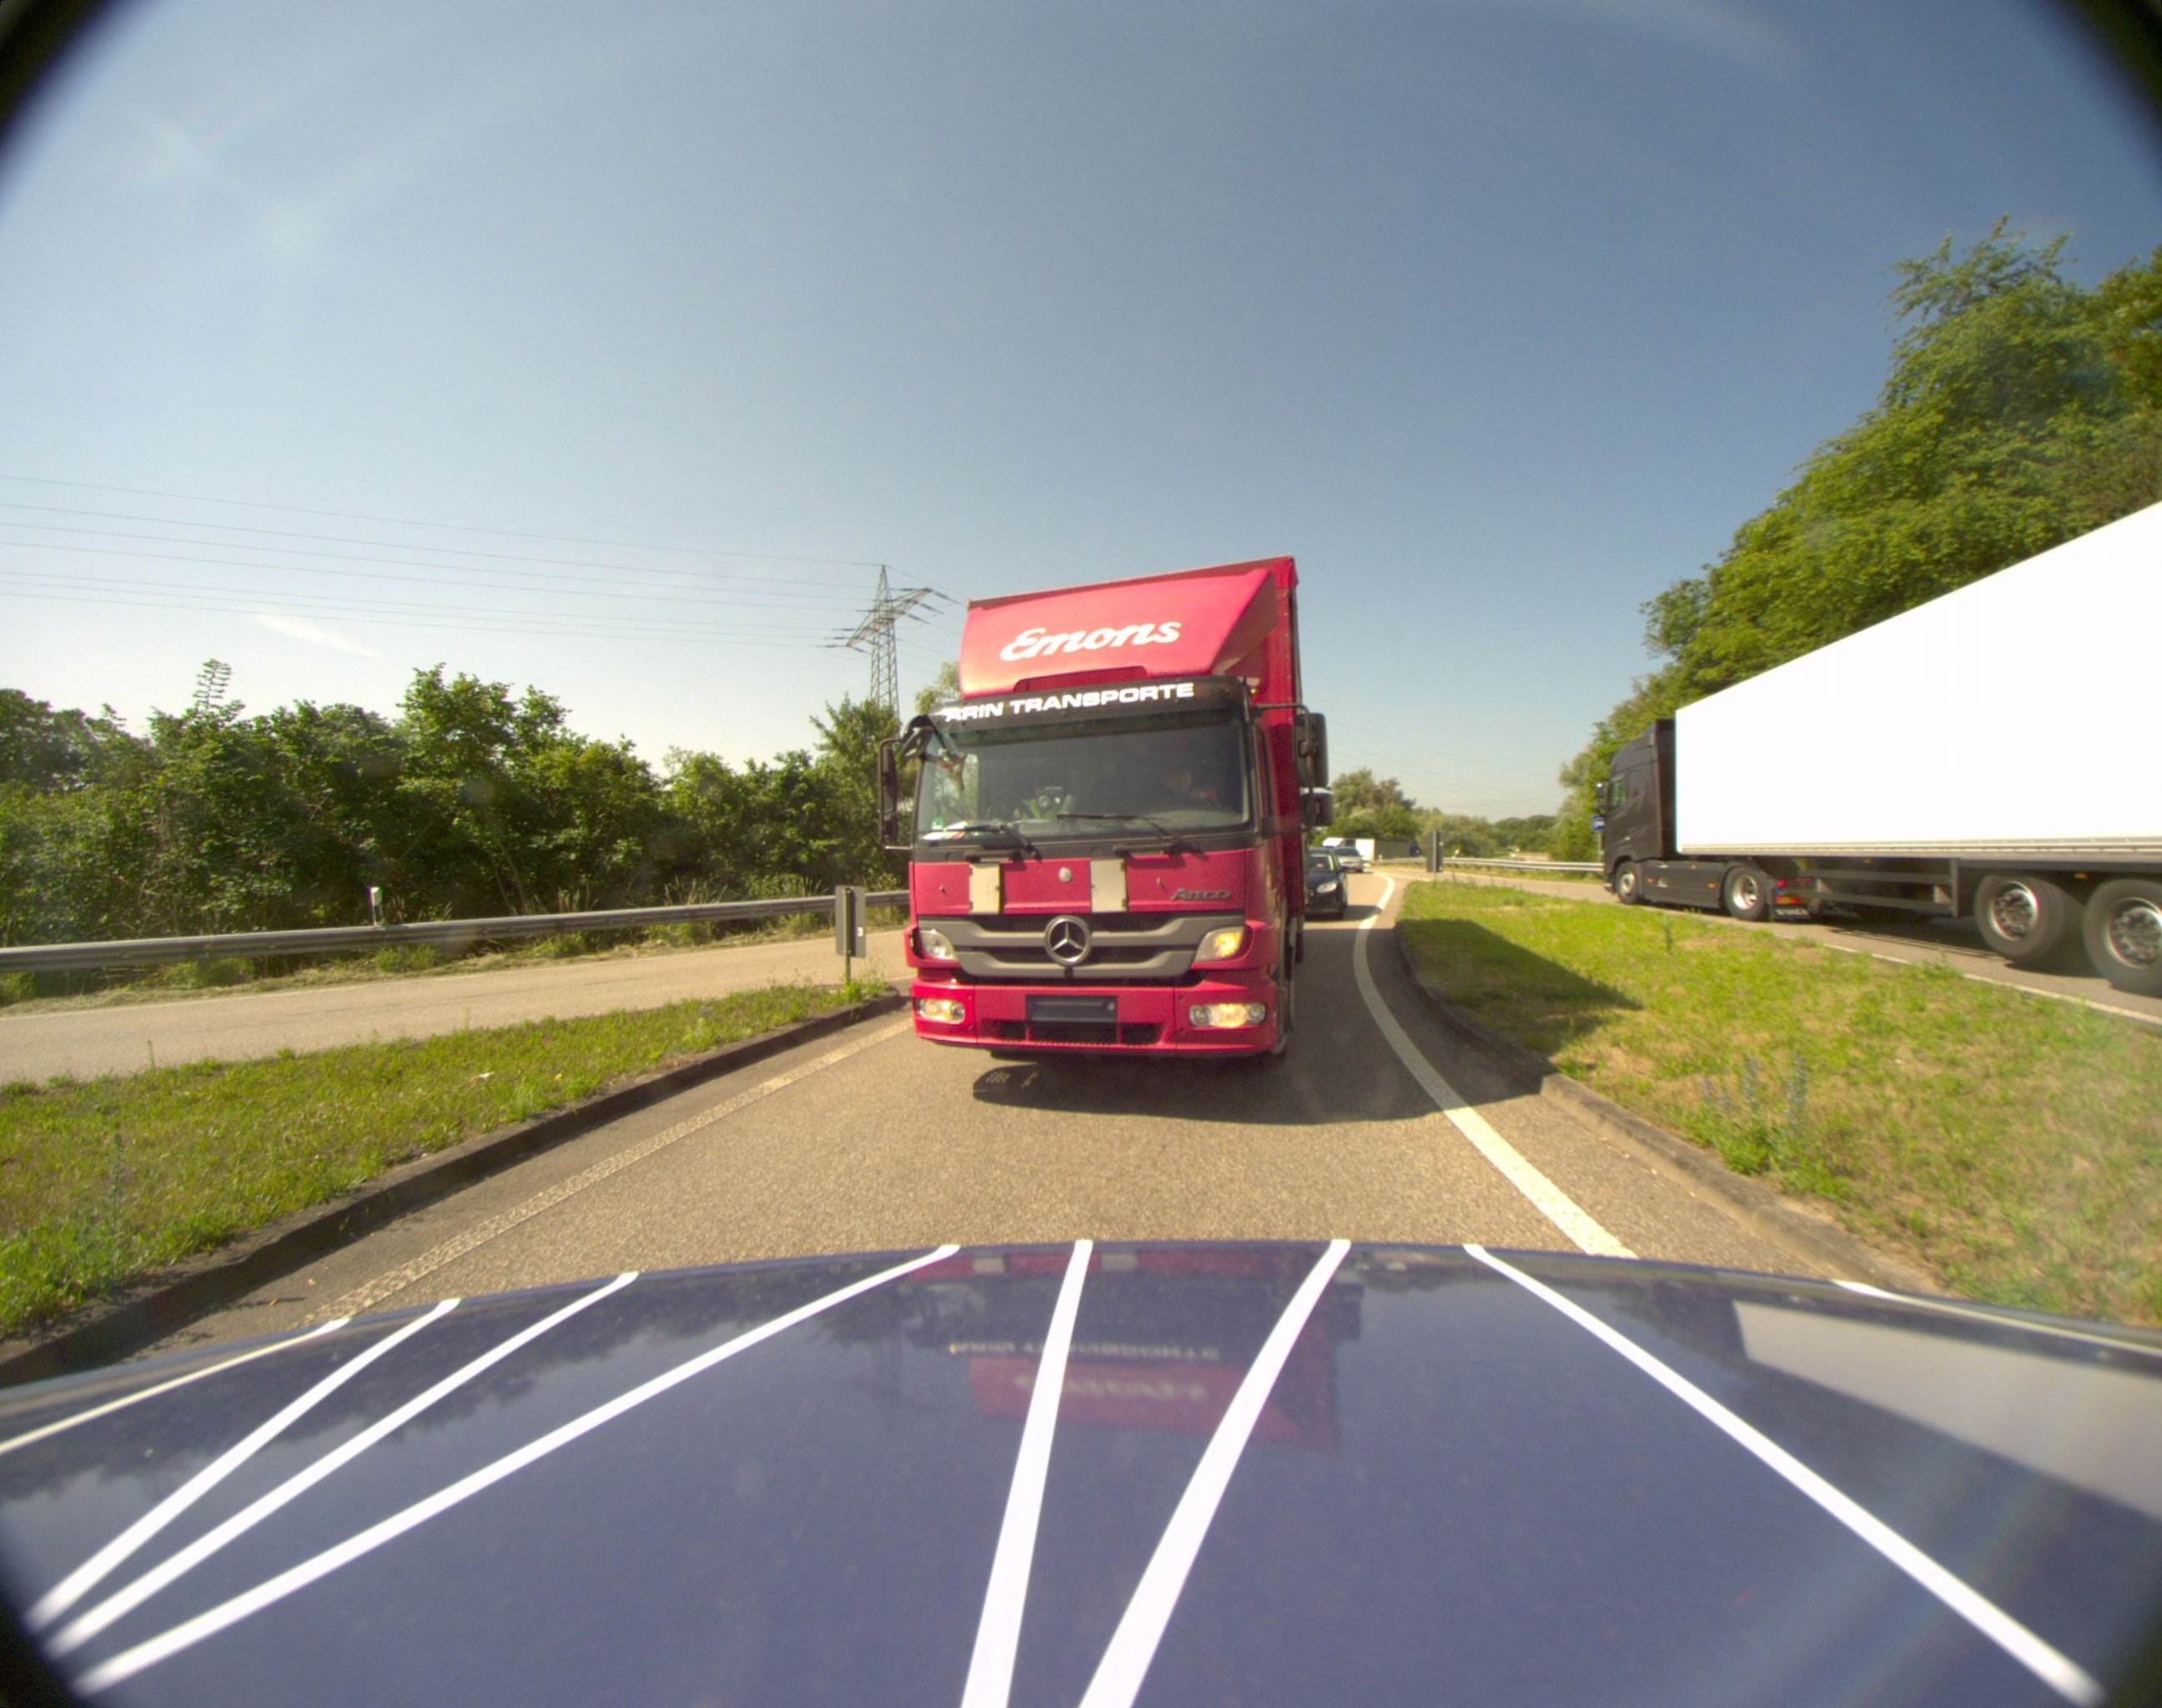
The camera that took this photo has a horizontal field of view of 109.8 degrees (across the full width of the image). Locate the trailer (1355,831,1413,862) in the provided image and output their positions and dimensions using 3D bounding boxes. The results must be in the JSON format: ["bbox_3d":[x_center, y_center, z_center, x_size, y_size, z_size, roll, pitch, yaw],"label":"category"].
[{"bbox_3d":[43.223,-1.069,107.983,2.950,4.243,14.011,2,1,42],"label":"trailer"}]

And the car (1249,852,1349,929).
[{"bbox_3d":[4.825,0.702,16.451,1.785,1.406,4.005,-1,0,20],"label":"car"}]

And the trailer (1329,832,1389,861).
[{"bbox_3d":[42.080,-1.154,114.741,2.922,4.216,14.010,2,2,44],"label":"trailer"}]

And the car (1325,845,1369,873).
[{"bbox_3d":[14.302,0.235,41.034,1.785,1.377,4.382,-2,0,13],"label":"car"}]

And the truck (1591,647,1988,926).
[{"bbox_3d":[12.809,-1.007,14.637,2.875,4.149,5.976,-2,0,12],"label":"truck"}]

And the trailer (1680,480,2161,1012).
[{"bbox_3d":[10.760,-0.904,7.972,2.890,4.141,14.000,-2,0,21],"label":"trailer"}]

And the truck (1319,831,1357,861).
[{"bbox_3d":[37.081,-1.146,109.506,2.932,4.214,5.745,2,2,44],"label":"truck"}]

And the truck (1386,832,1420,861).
[{"bbox_3d":[47.934,-1.095,112.999,2.932,4.222,5.745,2,2,42],"label":"truck"}]

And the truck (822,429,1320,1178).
[{"bbox_3d":[1.166,-0.268,8.516,2.686,3.640,9.273,-1,1,17],"label":"truck"}]
